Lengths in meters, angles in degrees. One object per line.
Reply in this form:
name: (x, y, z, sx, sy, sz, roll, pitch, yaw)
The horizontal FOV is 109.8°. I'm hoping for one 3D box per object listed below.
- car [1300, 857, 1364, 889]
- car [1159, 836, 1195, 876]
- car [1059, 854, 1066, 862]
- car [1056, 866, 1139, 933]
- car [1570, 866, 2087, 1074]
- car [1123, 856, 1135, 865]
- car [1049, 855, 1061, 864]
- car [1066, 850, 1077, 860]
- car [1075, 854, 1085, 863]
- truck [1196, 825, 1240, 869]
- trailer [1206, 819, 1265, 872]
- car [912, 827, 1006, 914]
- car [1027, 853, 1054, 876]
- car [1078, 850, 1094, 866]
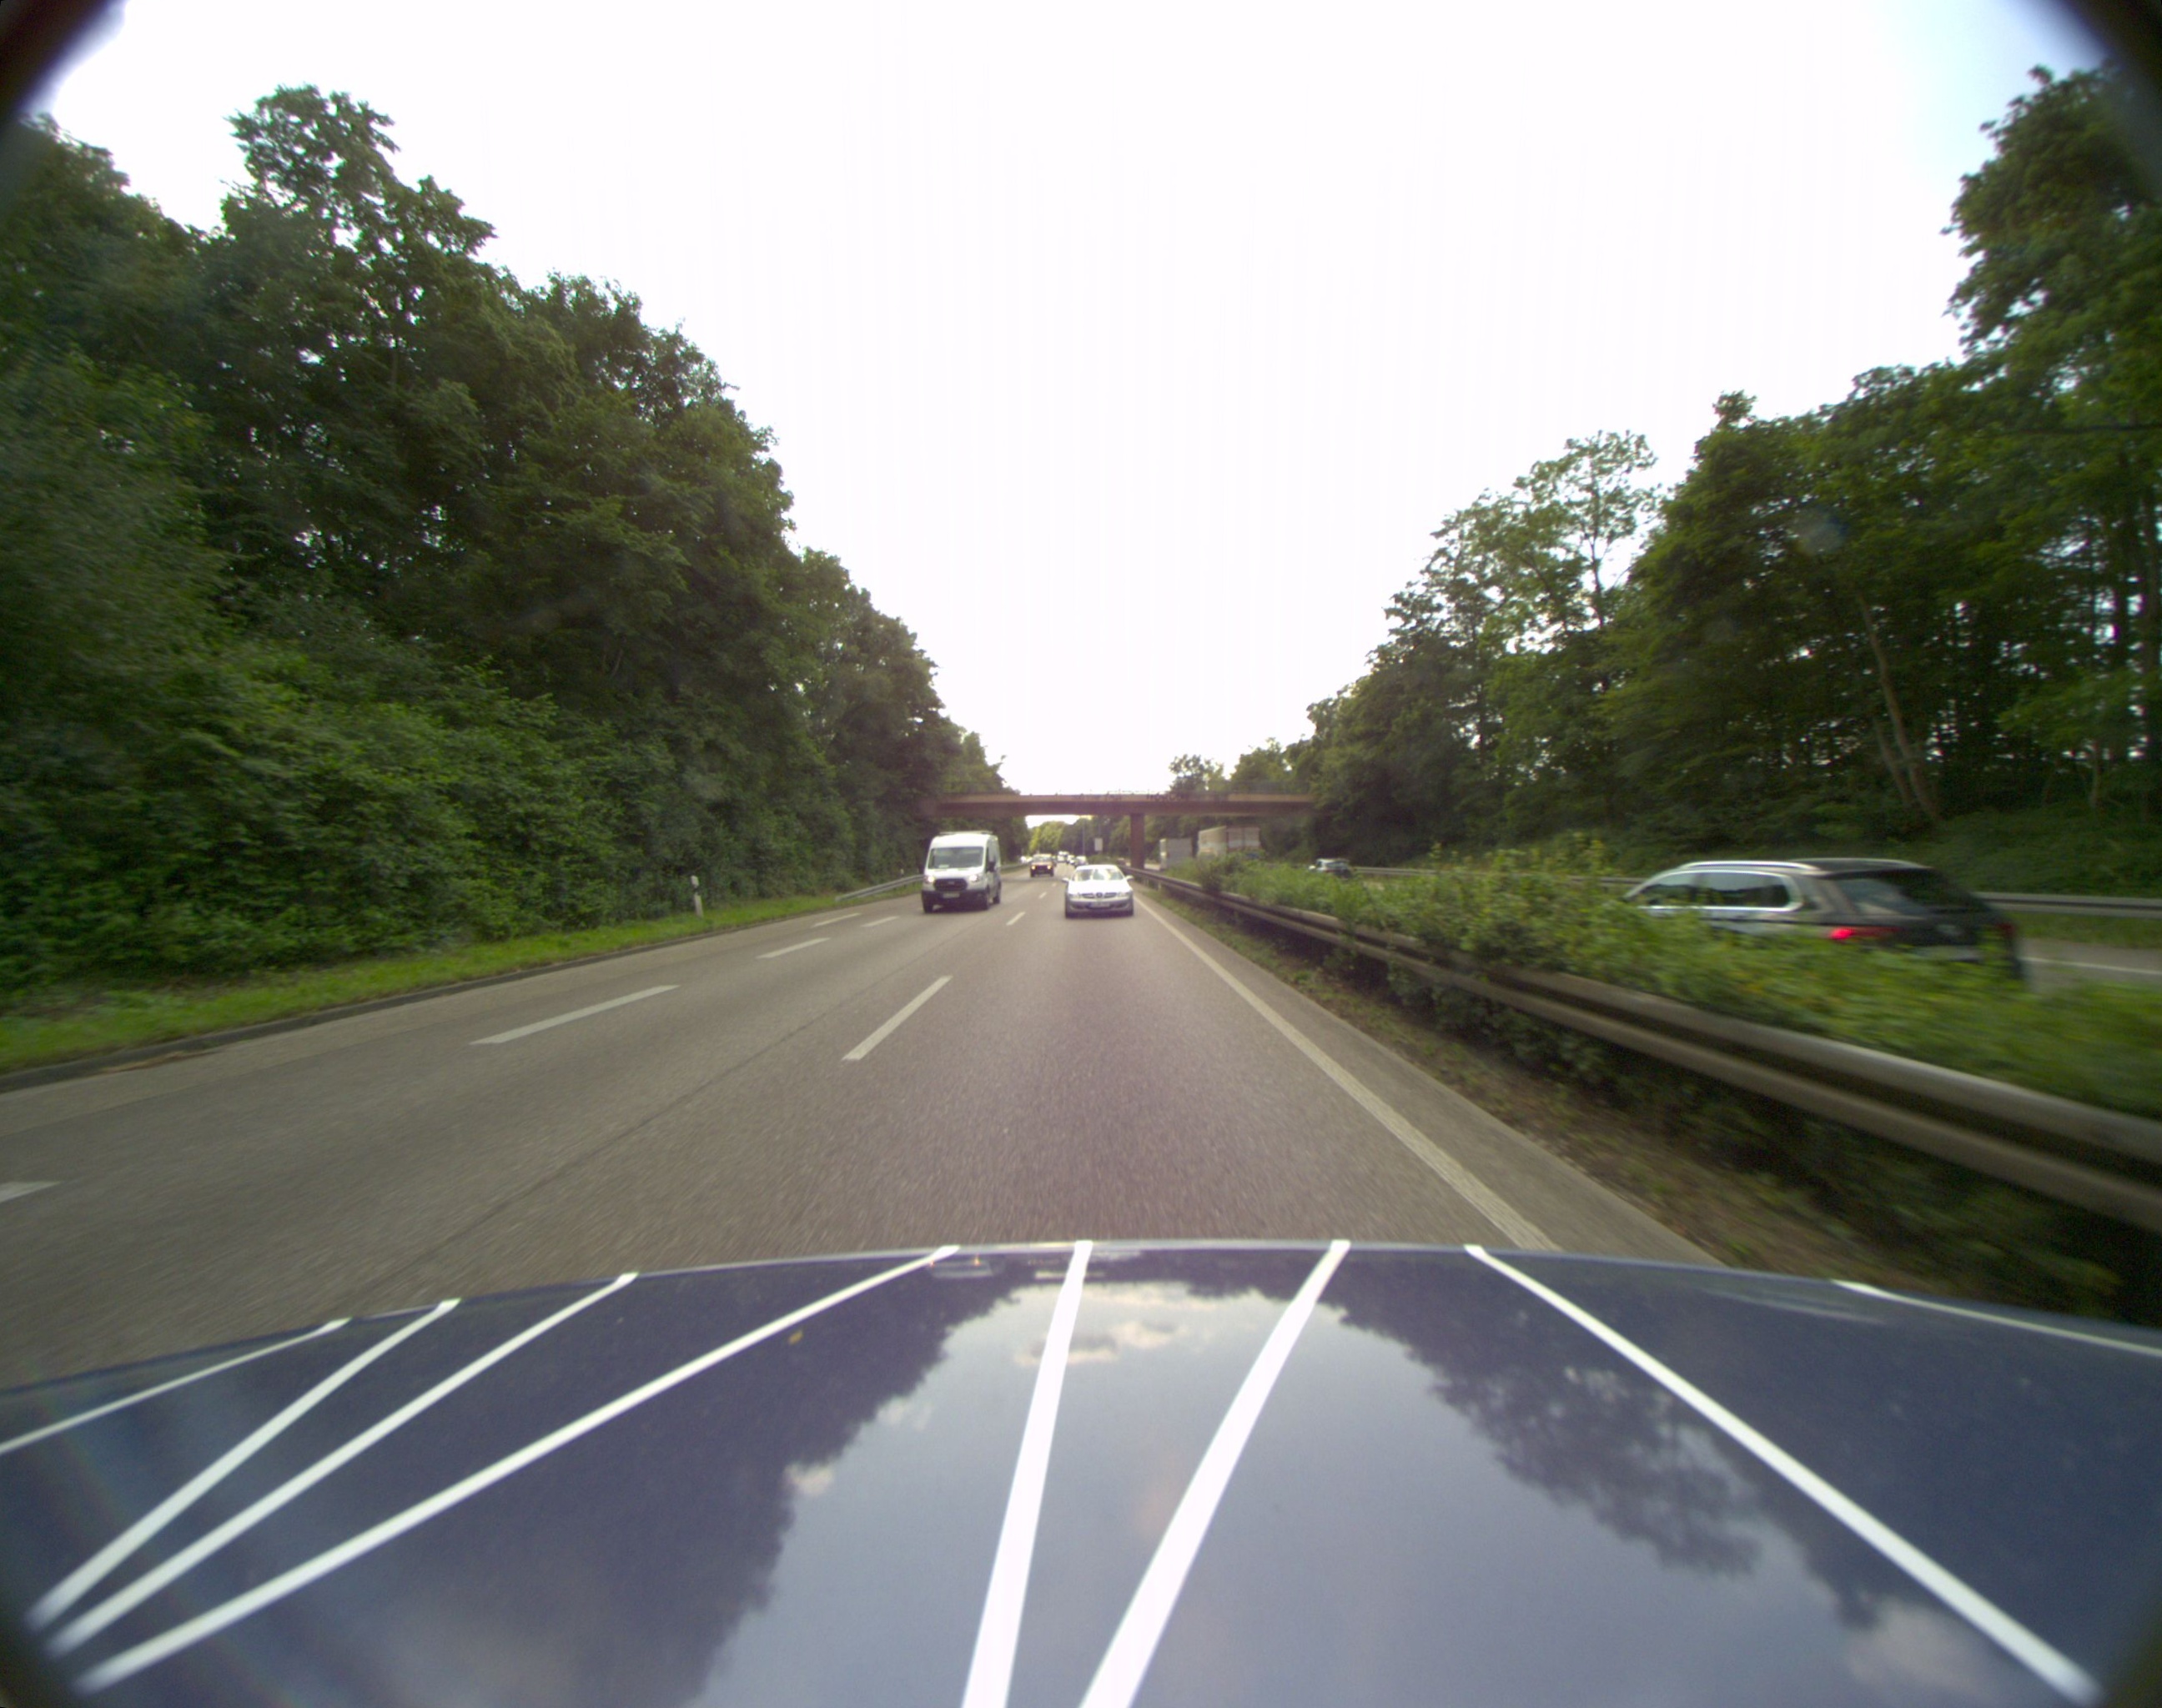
car: (12.452, 0.917, 37.999, 1.739, 1.464, 4.470, -1, 0, 1)
car: (8.051, 0.140, 64.494, 2.294, 3.214, 7.286, 0, 0, 1)
car: (-5.116, 1.102, 205.725, 1.725, 2.002, 4.000, -1, 0, 0)
car: (0.349, 1.035, 19.096, 1.751, 1.295, 5.223, -2, 0, 0)
car: (7.440, 0.988, 8.257, 1.721, 1.621, 4.000, -1, 0, 1)
car: (8.502, 1.154, 135.320, 1.689, 1.468, 4.436, 0, 0, -1)
car: (-4.247, 0.909, 126.742, 1.889, 1.516, 3.999, -1, 0, -1)
car: (-1.827, 0.195, 144.875, 1.999, 2.002, 4.000, -1, 0, -1)
car: (-0.185, 0.743, 127.431, 1.473, 1.560, 3.294, 0, 0, -2)
truck: (12.806, -0.648, 71.545, 3.047, 3.963, 6.748, -1, 0, 1)
trailer: (12.629, -0.644, 63.142, 3.067, 4.018, 9.974, -1, 0, 2)
car: (-3.864, 0.481, 25.168, 2.104, 2.493, 5.279, -2, 0, 1)
car: (-3.341, 0.814, 64.134, 1.908, 1.795, 4.395, -2, 0, 1)
car: (0.629, 0.557, 97.285, 1.998, 2.002, 4.000, -1, 0, 1)
